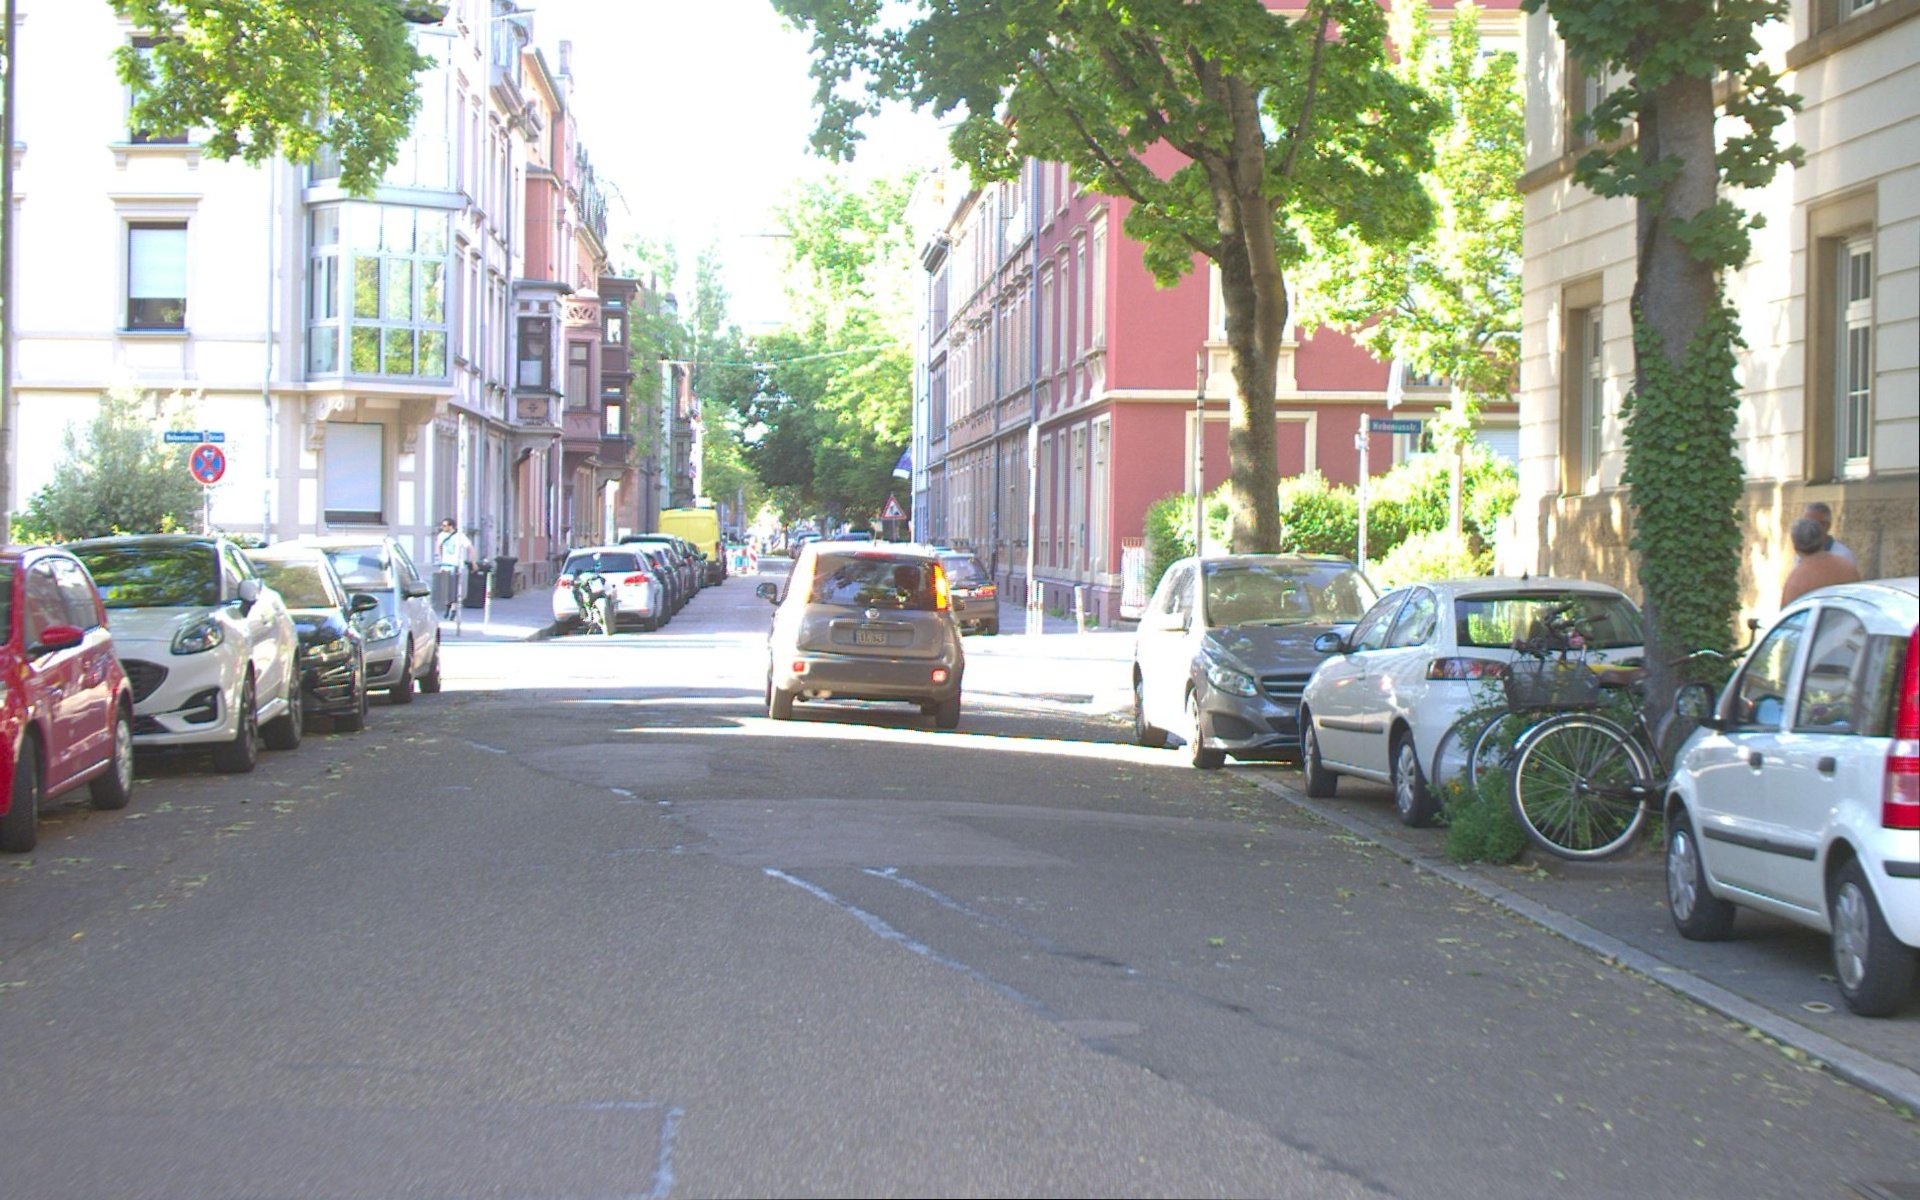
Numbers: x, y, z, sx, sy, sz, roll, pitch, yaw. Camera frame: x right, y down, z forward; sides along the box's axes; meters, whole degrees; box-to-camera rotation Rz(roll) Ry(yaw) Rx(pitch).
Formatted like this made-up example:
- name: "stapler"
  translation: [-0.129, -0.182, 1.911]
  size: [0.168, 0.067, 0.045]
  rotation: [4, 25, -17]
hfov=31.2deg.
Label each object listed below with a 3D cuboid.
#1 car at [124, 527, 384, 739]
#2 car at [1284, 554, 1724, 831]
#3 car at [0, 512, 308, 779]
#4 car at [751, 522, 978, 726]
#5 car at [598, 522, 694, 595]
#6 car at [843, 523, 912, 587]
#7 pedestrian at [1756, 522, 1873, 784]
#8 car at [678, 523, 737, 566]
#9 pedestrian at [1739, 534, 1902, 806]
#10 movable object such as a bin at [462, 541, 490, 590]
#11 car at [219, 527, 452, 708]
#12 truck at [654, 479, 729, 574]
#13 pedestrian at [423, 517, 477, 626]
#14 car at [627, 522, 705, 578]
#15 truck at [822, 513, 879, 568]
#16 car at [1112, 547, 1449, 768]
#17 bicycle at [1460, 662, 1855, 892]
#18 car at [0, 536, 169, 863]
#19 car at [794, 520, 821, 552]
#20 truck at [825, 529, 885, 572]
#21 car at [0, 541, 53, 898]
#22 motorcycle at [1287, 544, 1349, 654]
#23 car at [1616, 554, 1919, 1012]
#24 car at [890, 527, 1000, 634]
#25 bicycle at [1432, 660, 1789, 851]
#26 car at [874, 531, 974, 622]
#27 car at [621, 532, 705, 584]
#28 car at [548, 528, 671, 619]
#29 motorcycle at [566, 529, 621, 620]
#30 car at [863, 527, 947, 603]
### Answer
- name: "car"
  translation: [-5.626, 0.197, 27.829]
  size: [1.746, 1.469, 4.465]
  rotation: [-3, 2, -8]
- name: "car"
  translation: [3.193, 0.492, 20.926]
  size: [1.610, 1.473, 3.871]
  rotation: [1, 1, -7]
- name: "car"
  translation: [-5.506, 0.241, 22.913]
  size: [1.824, 1.548, 4.134]
  rotation: [-3, 1, -5]
- name: "car"
  translation: [-0.876, 0.163, 29.769]
  size: [1.632, 1.544, 3.265]
  rotation: [3, 2, -6]
- name: "car"
  translation: [-6.917, -0.939, 76.024]
  size: [1.828, 1.474, 3.925]
  rotation: [-2, 1, -2]
- name: "car"
  translation: [-2.101, -1.155, 86.552]
  size: [1.663, 1.500, 3.757]
  rotation: [2, 1, -2]
- name: "pedestrian"
  translation: [5.683, 0.343, 22.890]
  size: [0.489, 1.700, 0.757]
  rotation: [-2, 1, -4]
- name: "car"
  translation: [-9.339, -2.081, 127.439]
  size: [1.961, 1.474, 3.925]
  rotation: [-2, 1, -2]
- name: "pedestrian"
  translation: [5.496, 0.433, 21.992]
  size: [0.778, 1.688, 0.874]
  rotation: [1, 1, 0]
- name: "movable object such as a bin"
  translation: [-9.485, -0.684, 67.389]
  size: [0.511, 0.949, 0.501]
  rotation: [1, 1, -5]
- name: "car"
  translation: [-5.912, 0.112, 32.923]
  size: [1.696, 1.545, 3.920]
  rotation: [-2, 2, -4]
- name: "truck"
  translation: [-8.737, -2.400, 112.174]
  size: [2.070, 2.916, 5.068]
  rotation: [-3, 1, -2]
- name: "pedestrian"
  translation: [-8.774, -0.495, 59.126]
  size: [0.723, 1.833, 0.626]
  rotation: [2, 1, 8]
- name: "car"
  translation: [-8.360, -1.432, 98.081]
  size: [1.961, 1.474, 3.925]
  rotation: [-2, 1, -2]
- name: "truck"
  translation: [-4.028, -2.196, 126.106]
  size: [1.993, 1.985, 4.001]
  rotation: [1, 1, -3]
- name: "car"
  translation: [2.404, 0.383, 26.906]
  size: [1.788, 1.545, 4.411]
  rotation: [1, 1, -6]
- name: "bicycle"
  translation: [3.395, 0.855, 16.816]
  size: [1.769, 1.036, 0.606]
  rotation: [2, 1, -2]
- name: "car"
  translation: [-5.230, 0.446, 17.595]
  size: [1.601, 1.455, 4.028]
  rotation: [-2, 2, -3]
- name: "car"
  translation: [-7.988, -3.346, 179.786]
  size: [1.367, 1.612, 3.414]
  rotation: [1, 1, -2]
- name: "truck"
  translation: [-3.709, -1.751, 120.740]
  size: [1.993, 1.451, 4.001]
  rotation: [1, 1, -3]
- name: "car"
  translation: [-4.878, 0.545, 12.704]
  size: [2.000, 1.452, 4.607]
  rotation: [-1, 1, -3]
- name: "motorcycle"
  translation: [5.039, -0.036, 48.486]
  size: [0.826, 1.399, 2.556]
  rotation: [1, 3, 5]
- name: "car"
  translation: [3.717, 0.597, 13.297]
  size: [1.520, 1.505, 3.544]
  rotation: [1, 1, -2]
- name: "car"
  translation: [-0.281, -0.358, 57.436]
  size: [1.663, 1.663, 3.757]
  rotation: [2, 1, -2]
- name: "bicycle"
  translation: [3.397, 0.806, 18.039]
  size: [1.715, 0.946, 0.733]
  rotation: [0, 1, -2]
- name: "car"
  translation: [-0.680, -0.448, 61.917]
  size: [1.663, 1.500, 3.757]
  rotation: [2, 1, -2]
- name: "car"
  translation: [-7.784, -1.121, 90.449]
  size: [1.961, 1.220, 3.925]
  rotation: [-2, 1, -2]
- name: "car"
  translation: [-6.048, -0.484, 59.643]
  size: [1.797, 1.427, 3.925]
  rotation: [-2, 1, -2]
- name: "motorcycle"
  translation: [-6.016, -0.434, 56.344]
  size: [0.696, 1.455, 1.751]
  rotation: [0, 1, -12]
- name: "car"
  translation: [-1.187, -0.770, 72.904]
  size: [1.663, 1.500, 3.757]
  rotation: [2, 1, -2]
